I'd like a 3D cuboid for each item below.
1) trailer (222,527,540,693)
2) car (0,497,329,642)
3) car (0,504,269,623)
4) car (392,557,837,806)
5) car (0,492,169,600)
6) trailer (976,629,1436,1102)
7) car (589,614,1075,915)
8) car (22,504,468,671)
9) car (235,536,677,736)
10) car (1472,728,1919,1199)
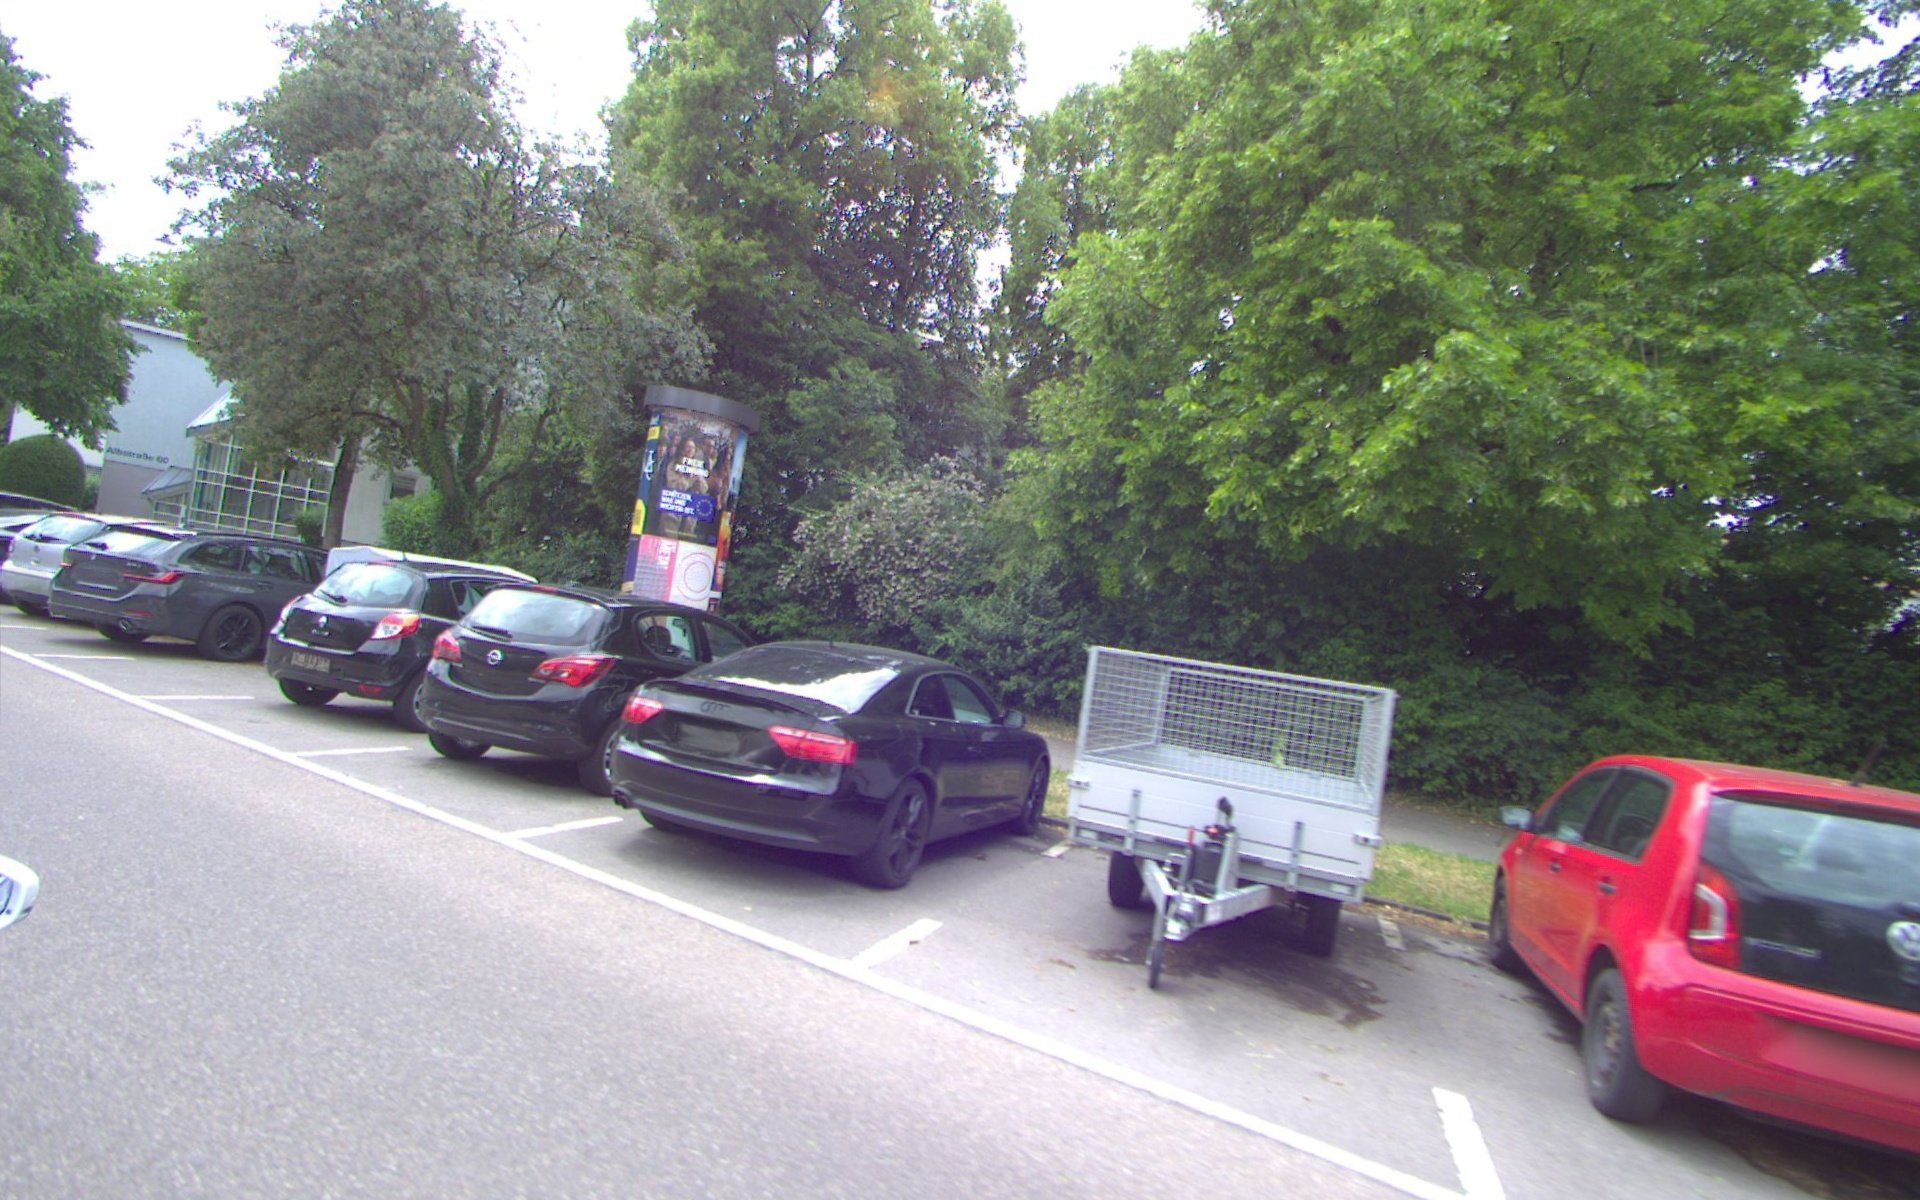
[{"bbox_3d":[-6.685,0.221,11.946,1.279,1.559,3.000,9,-2,19],"label":"trailer"},{"bbox_3d":[-11.172,-0.340,14.114,1.603,1.461,3.628,8,-2,16],"label":"car"},{"bbox_3d":[-13.307,-0.584,15.327,1.701,1.356,4.333,8,-3,18],"label":"car"},{"bbox_3d":[-2.691,0.707,8.912,1.587,1.503,3.930,8,-3,16],"label":"car"},{"bbox_3d":[-15.820,-1.002,16.637,1.700,1.532,4.090,8,-2,10],"label":"car"},{"bbox_3d":[1.549,1.187,5.792,1.615,1.551,3.706,8,-3,20],"label":"trailer"},{"bbox_3d":[-0.537,1.030,7.230,1.531,1.342,4.054,7,-3,23],"label":"car"},{"bbox_3d":[-8.599,-0.011,12.675,1.603,1.461,4.365,8,-2,17],"label":"car"},{"bbox_3d":[-4.805,0.453,10.276,1.603,1.471,3.857,8,-3,20],"label":"car"},{"bbox_3d":[3.761,1.541,5.031,1.530,1.461,3.440,7,-3,20],"label":"car"}]
